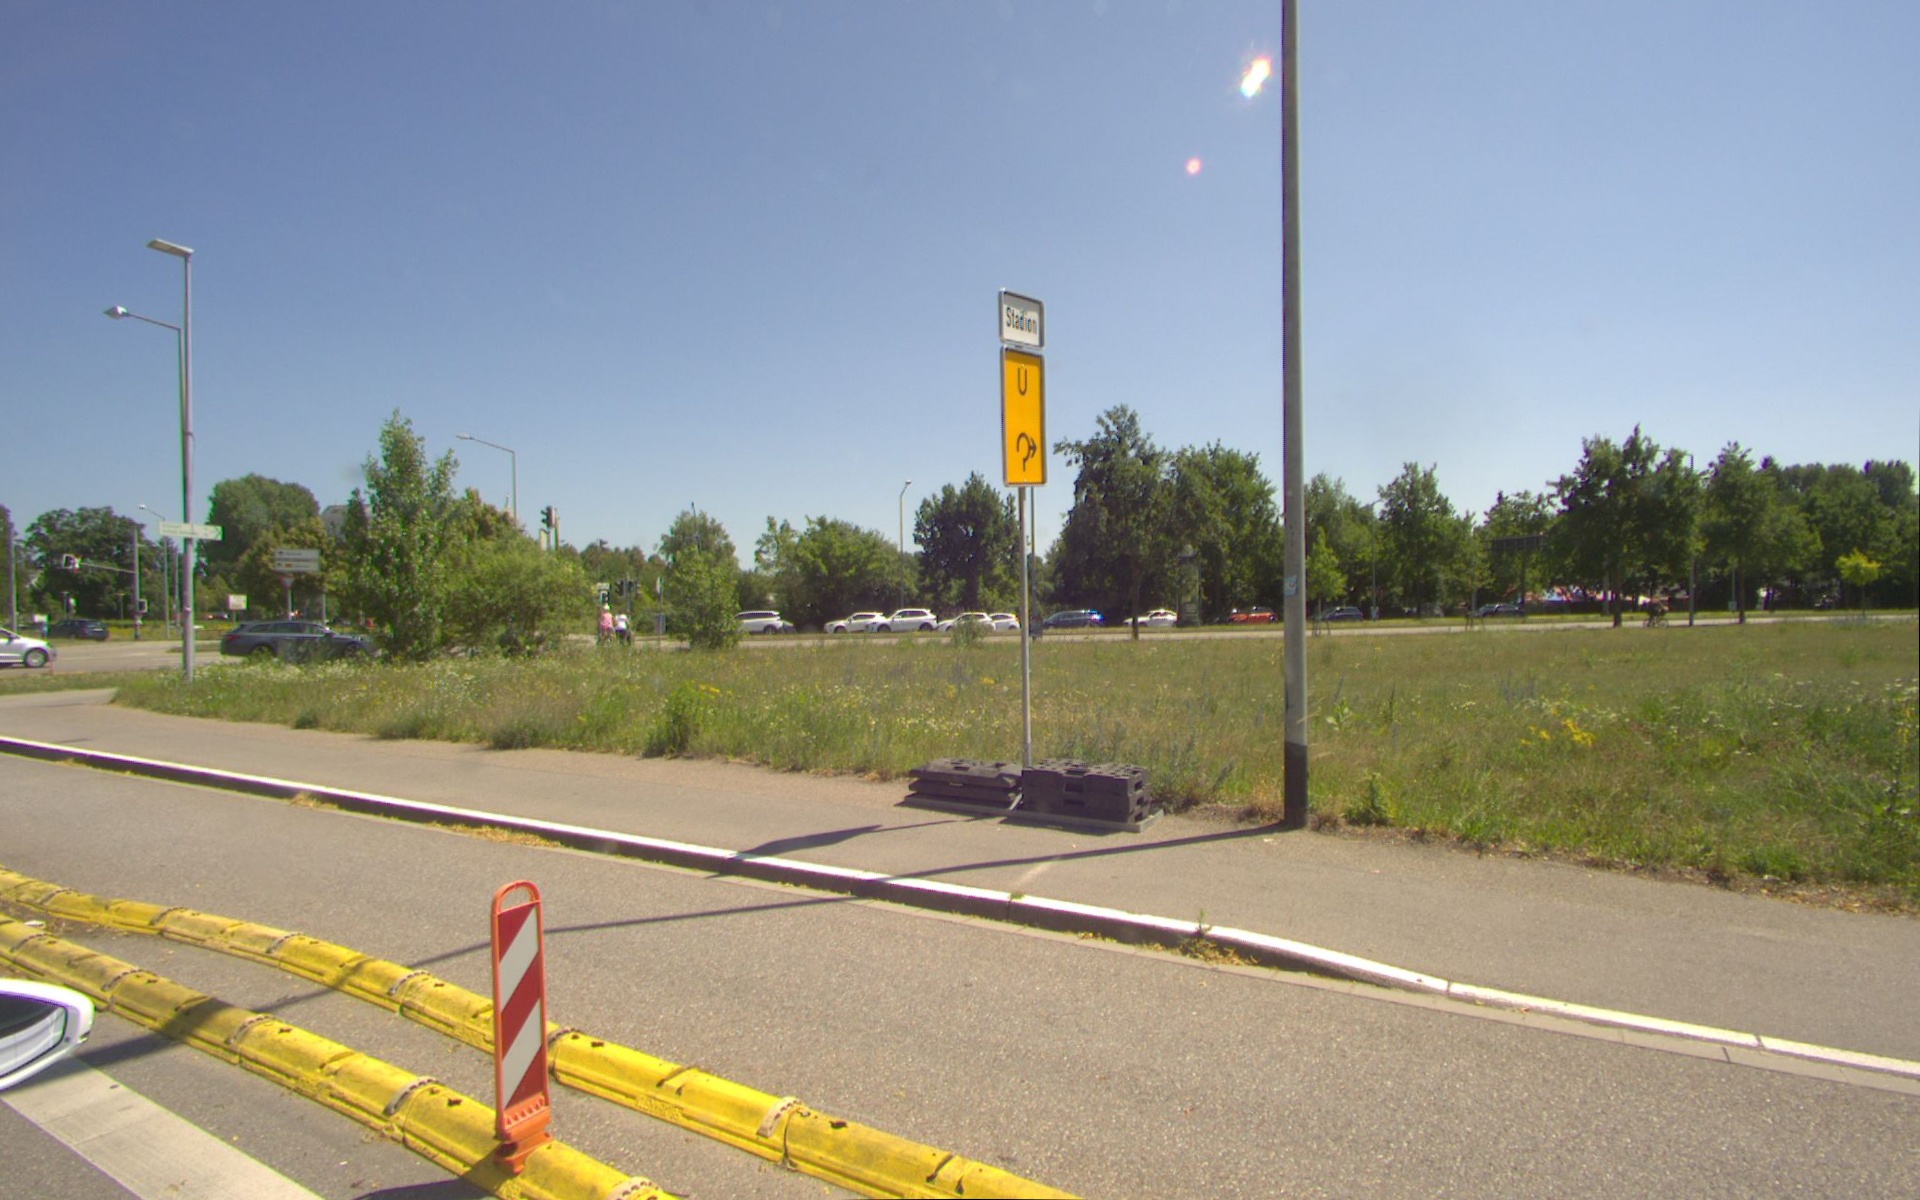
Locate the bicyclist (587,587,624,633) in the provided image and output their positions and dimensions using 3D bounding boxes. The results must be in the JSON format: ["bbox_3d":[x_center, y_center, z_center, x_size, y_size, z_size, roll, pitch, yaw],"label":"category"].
[{"bbox_3d":[-12.721,0.362,35.964,0.941,1.630,1.186,0,-1,-2],"label":"bicyclist"}]

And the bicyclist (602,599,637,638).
[{"bbox_3d":[-13.622,0.734,40.138,0.941,1.552,1.185,0,1,3],"label":"bicyclist"}]

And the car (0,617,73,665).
[{"bbox_3d":[-30.104,1.269,30.727,1.750,1.441,3.993,0,0,17],"label":"car"}]

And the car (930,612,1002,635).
[{"bbox_3d":[0.399,1.484,64.734,4.329,1.441,1.861,0,0,-16],"label":"car"}]

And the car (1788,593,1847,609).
[{"bbox_3d":[75.608,0.085,88.271,4.329,1.441,1.861,0,0,-16],"label":"car"}]

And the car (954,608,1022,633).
[{"bbox_3d":[1.902,1.384,68.300,4.329,1.705,1.861,0,0,-16],"label":"car"}]

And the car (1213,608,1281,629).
[{"bbox_3d":[20.294,1.290,70.773,4.329,1.441,1.861,0,0,-16],"label":"car"}]

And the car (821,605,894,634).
[{"bbox_3d":[-6.423,1.207,62.758,4.329,1.705,1.861,0,0,-16],"label":"car"}]

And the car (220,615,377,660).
[{"bbox_3d":[-23.135,1.264,35.113,4.405,1.437,1.983,0,0,-40],"label":"car"}]

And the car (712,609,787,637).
[{"bbox_3d":[-12.719,1.355,60.473,4.329,1.639,1.861,0,0,-16],"label":"car"}]

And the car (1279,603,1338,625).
[{"bbox_3d":[25.132,1.035,72.216,3.730,1.493,1.718,0,-2,-17],"label":"car"}]

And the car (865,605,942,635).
[{"bbox_3d":[-3.430,1.191,60.430,4.329,1.705,1.861,0,0,-16],"label":"car"}]

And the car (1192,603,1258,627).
[{"bbox_3d":[19.473,1.113,73.648,4.329,1.705,1.861,0,0,-16],"label":"car"}]

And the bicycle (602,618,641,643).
[{"bbox_3d":[-13.591,1.206,40.268,0.881,0.912,1.762,1,1,4],"label":"bicycle"}]

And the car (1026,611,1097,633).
[{"bbox_3d":[6.681,1.431,66.132,4.329,1.441,1.861,0,0,-16],"label":"car"}]

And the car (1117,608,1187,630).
[{"bbox_3d":[13.090,1.305,68.464,4.329,1.441,1.861,0,0,-16],"label":"car"}]

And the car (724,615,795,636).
[{"bbox_3d":[-12.758,1.609,63.769,4.329,1.287,1.861,0,0,-16],"label":"car"}]

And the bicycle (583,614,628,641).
[{"bbox_3d":[-12.718,0.990,36.020,0.881,0.912,2.227,1,-1,-2],"label":"bicycle"}]

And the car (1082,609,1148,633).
[{"bbox_3d":[10.995,1.470,71.088,4.329,1.705,1.861,0,0,-16],"label":"car"}]

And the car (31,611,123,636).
[{"bbox_3d":[-54.589,1.465,61.960,3.922,1.482,2.001,0,-2,1],"label":"car"}]

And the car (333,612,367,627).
[{"bbox_3d":[-89.827,2.891,147.540,3.931,2.039,1.996,0,-2,-19],"label":"car"}]
